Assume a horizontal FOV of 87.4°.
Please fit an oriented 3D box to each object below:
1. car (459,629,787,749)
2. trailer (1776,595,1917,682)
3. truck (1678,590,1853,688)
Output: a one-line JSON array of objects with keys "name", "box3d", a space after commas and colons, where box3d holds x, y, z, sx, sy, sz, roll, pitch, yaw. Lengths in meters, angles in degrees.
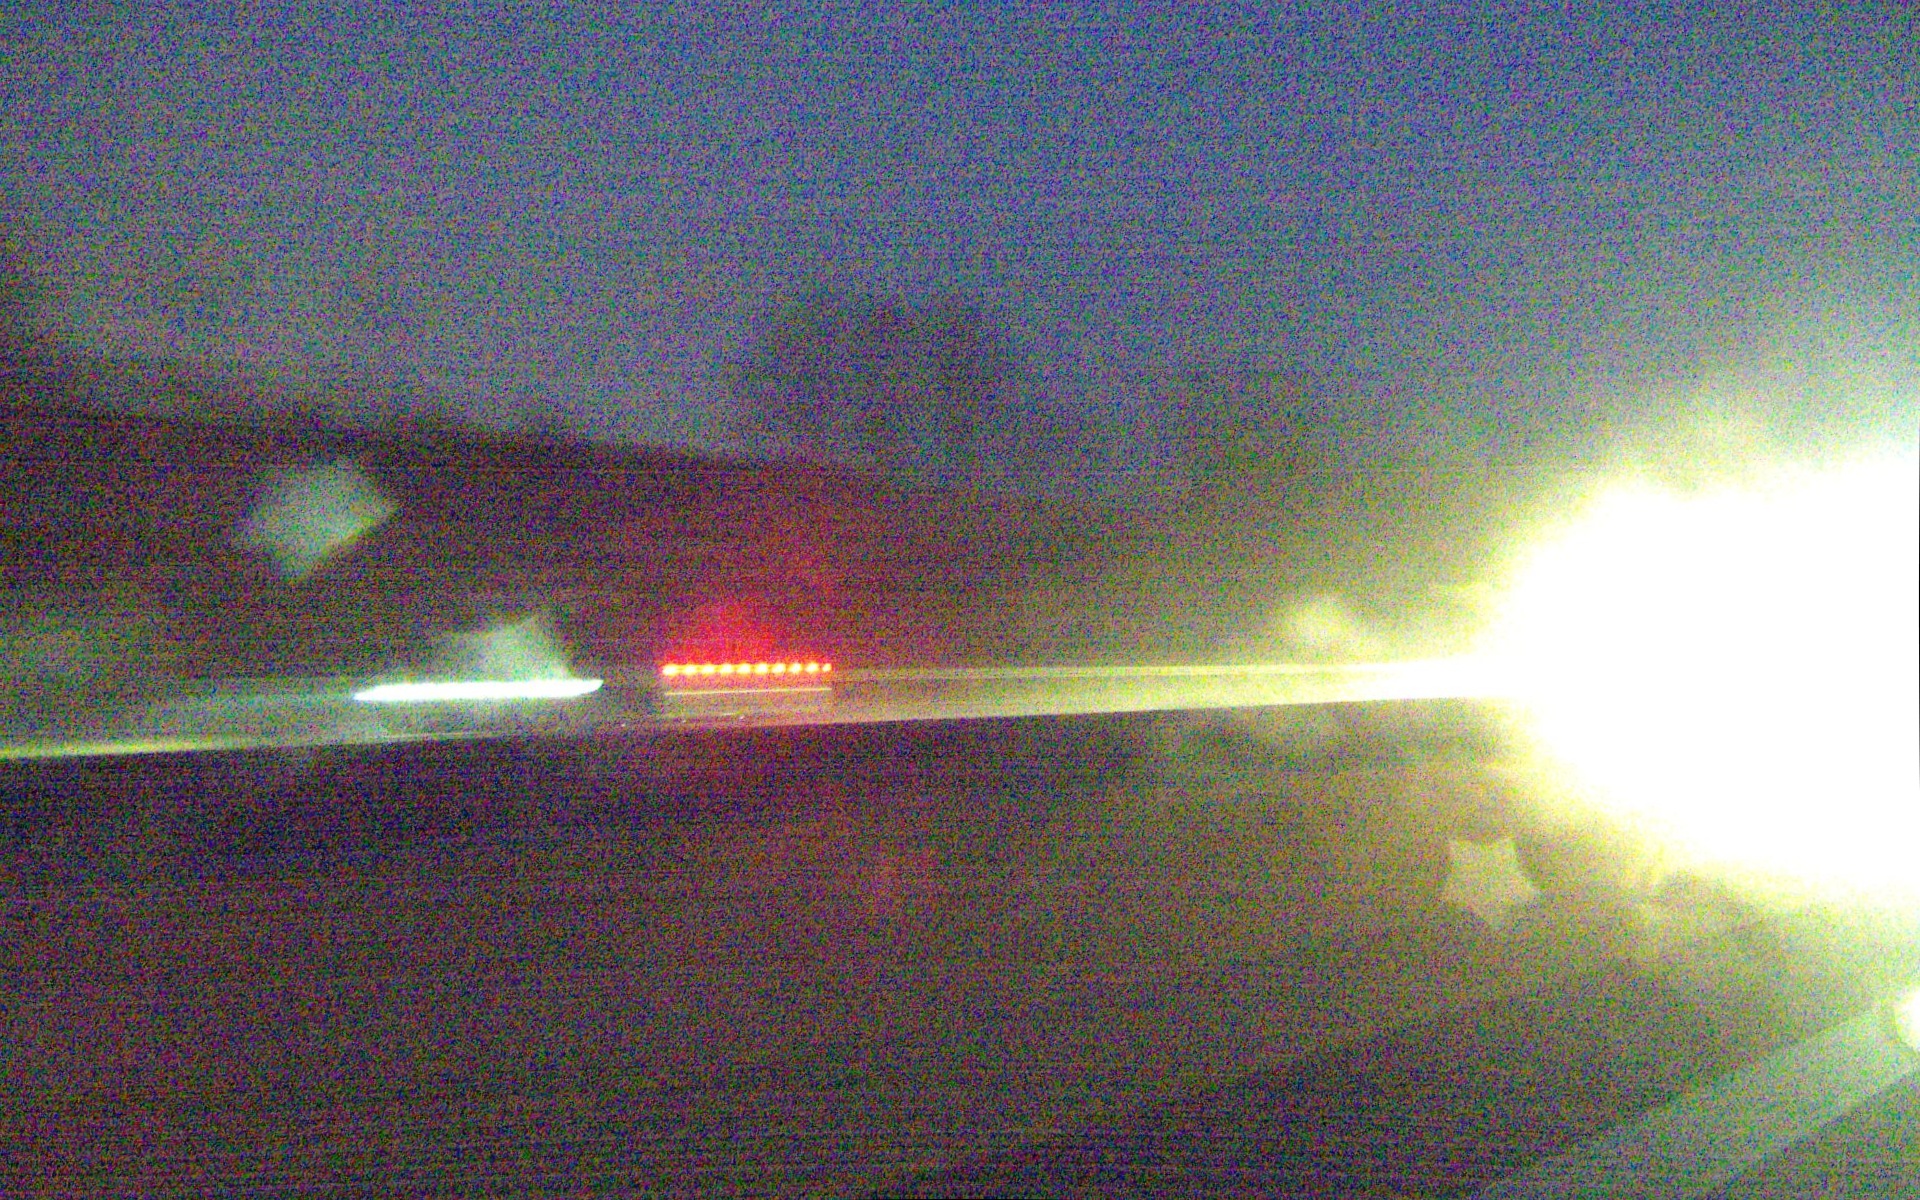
[{"name": "car", "box3d": [-5.108, 1.239, 15.354, 4.479, 1.580, 1.984, 1, -1, -30]}, {"name": "trailer", "box3d": [43.472, 1.841, 49.184, 8.609, 3.952, 2.841, 1, -1, -32]}, {"name": "truck", "box3d": [35.540, 1.676, 44.167, 10.099, 3.959, 2.852, 1, -1, -32]}]
